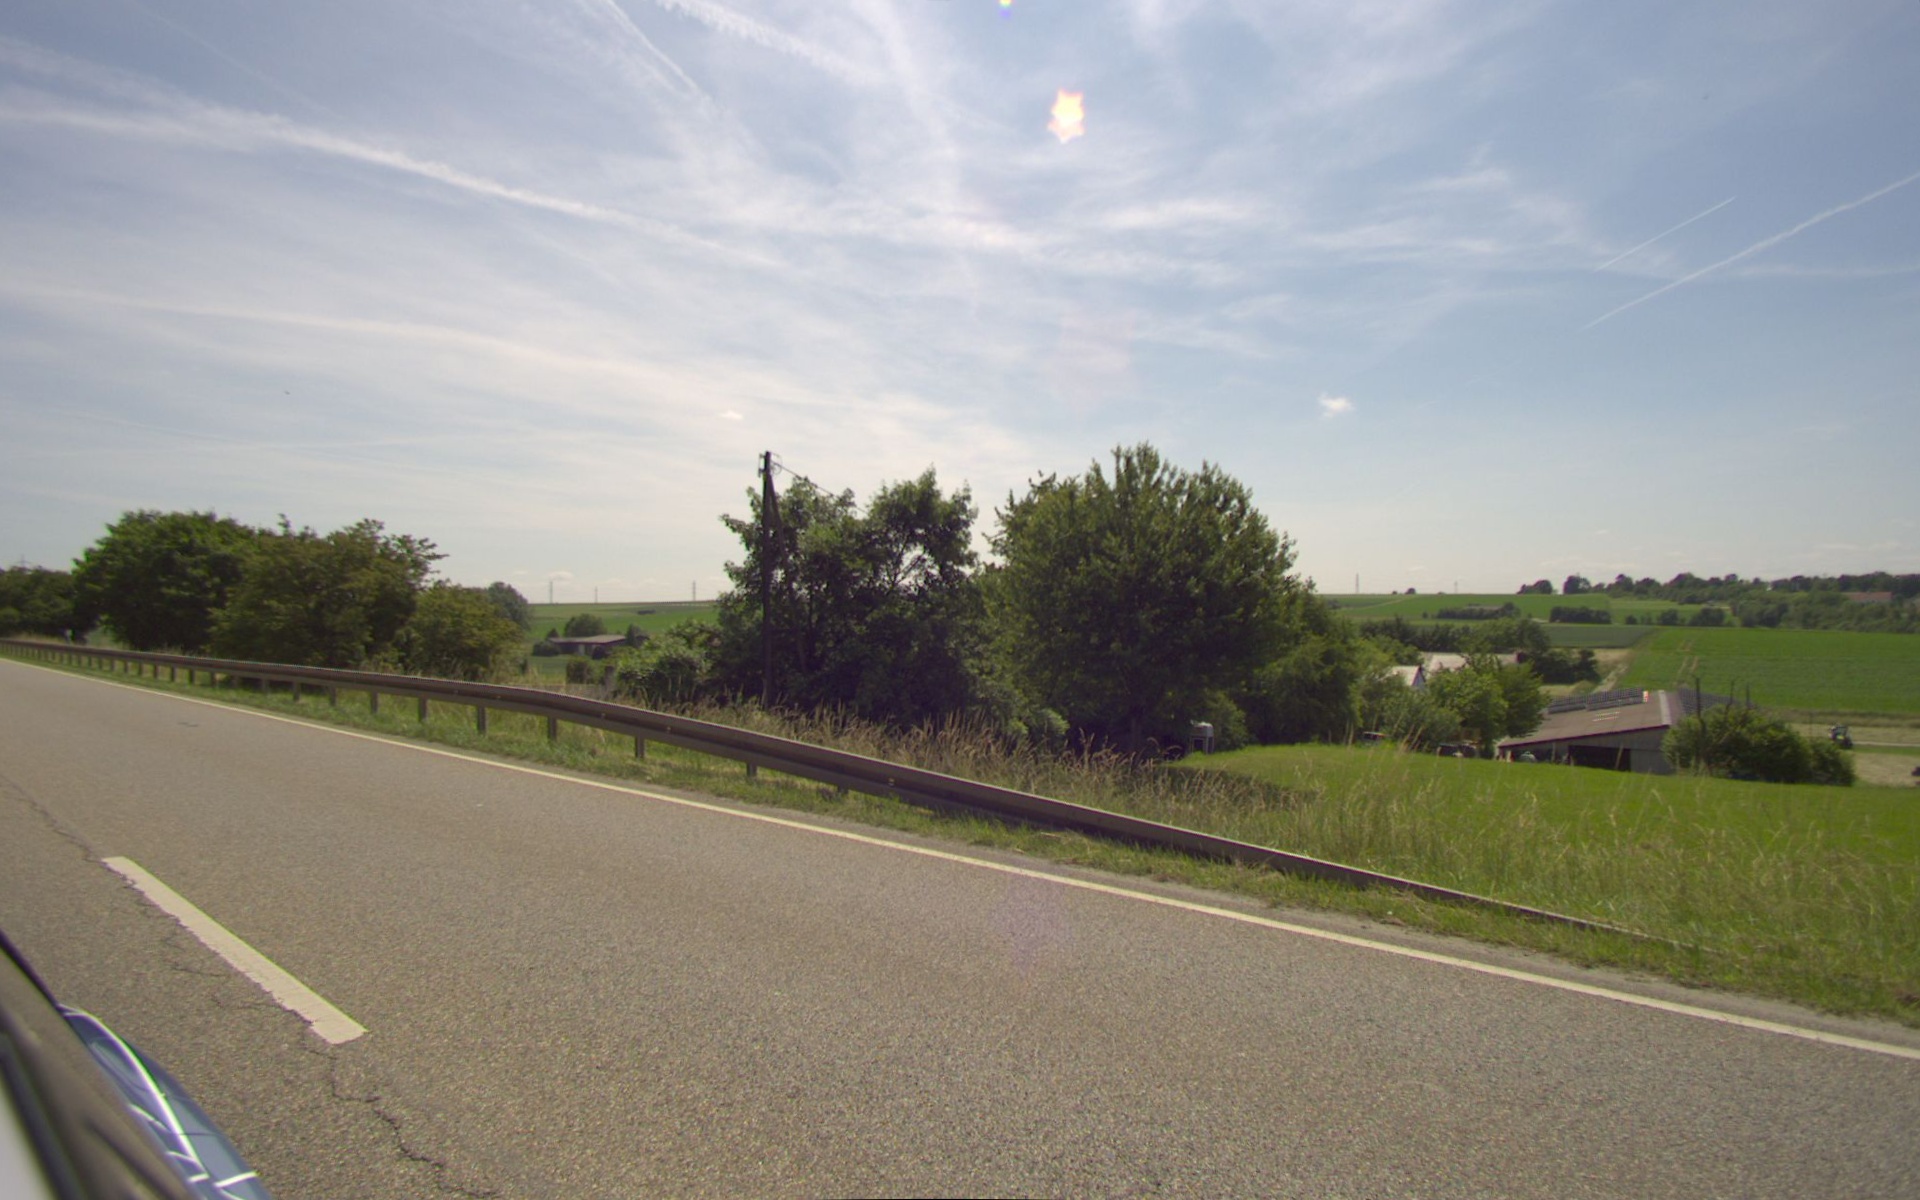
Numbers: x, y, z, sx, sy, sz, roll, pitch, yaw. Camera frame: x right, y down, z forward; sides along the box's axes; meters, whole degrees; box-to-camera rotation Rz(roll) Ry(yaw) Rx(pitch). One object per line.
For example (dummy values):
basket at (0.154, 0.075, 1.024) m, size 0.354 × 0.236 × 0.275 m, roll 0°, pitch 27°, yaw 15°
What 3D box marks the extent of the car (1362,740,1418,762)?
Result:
car at (40.701, 14.266, 95.902) m, size 4.497 × 1.697 × 1.973 m, roll -1°, pitch -7°, yaw 41°
